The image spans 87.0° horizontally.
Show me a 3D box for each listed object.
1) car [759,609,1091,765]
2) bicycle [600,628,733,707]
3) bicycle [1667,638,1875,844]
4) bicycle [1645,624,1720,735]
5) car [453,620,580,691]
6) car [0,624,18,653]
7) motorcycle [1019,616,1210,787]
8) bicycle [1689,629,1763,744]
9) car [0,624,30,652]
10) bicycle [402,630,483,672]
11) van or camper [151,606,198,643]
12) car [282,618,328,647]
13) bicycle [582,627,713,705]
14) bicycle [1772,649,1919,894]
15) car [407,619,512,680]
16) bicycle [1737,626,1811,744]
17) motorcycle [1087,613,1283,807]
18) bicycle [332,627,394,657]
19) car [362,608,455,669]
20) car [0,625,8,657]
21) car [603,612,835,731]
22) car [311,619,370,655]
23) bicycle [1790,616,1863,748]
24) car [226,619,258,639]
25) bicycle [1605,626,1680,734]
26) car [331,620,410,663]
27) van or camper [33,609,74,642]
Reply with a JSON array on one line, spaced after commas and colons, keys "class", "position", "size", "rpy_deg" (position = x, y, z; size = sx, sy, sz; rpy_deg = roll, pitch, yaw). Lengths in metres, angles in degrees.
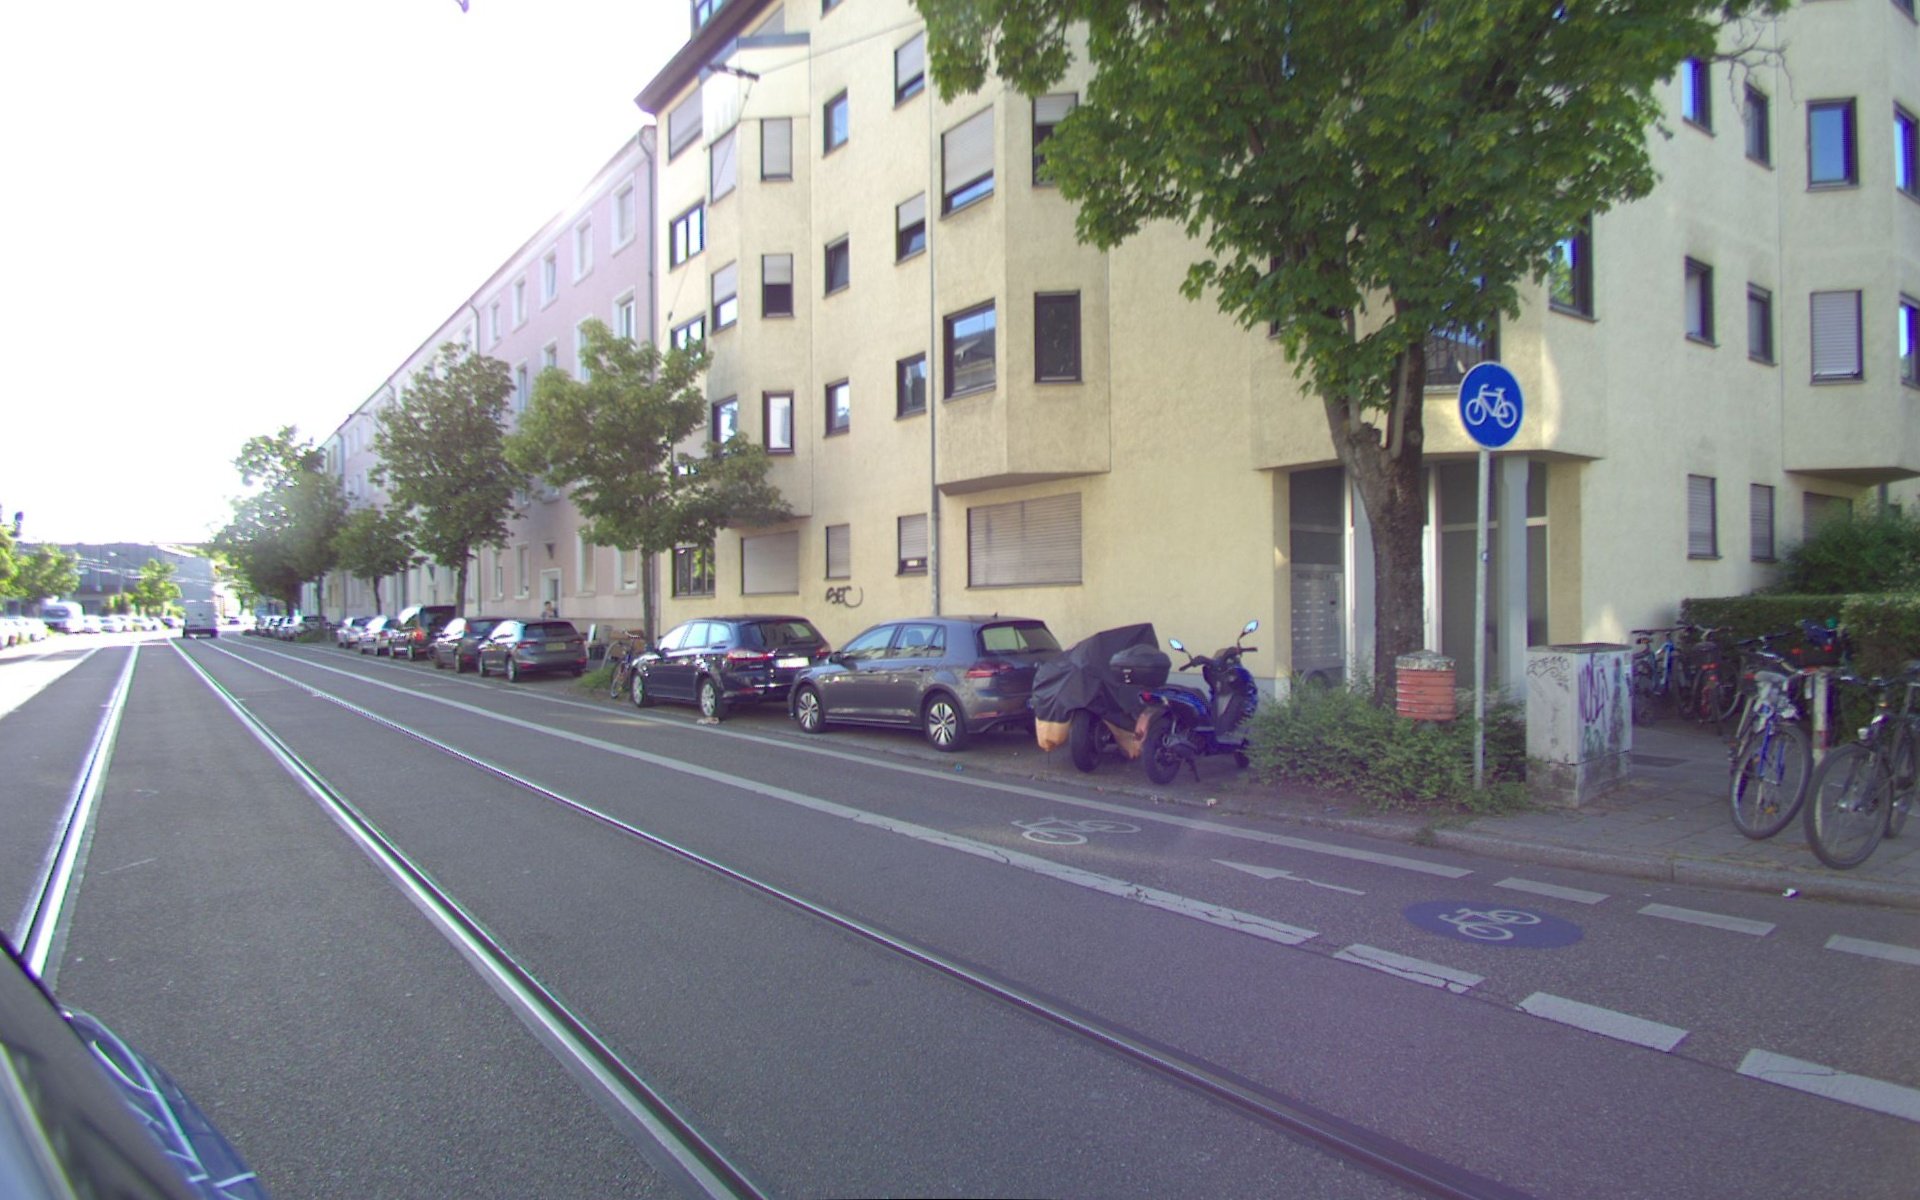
[{"class": "car", "position": [-0.572, 0.911, 12.270], "size": [1.715, 1.554, 4.133], "rpy_deg": [0, -1, -43]}, {"class": "bicycle", "position": [-5.388, 1.205, 18.666], "size": [2.263, 1.344, 0.701], "rpy_deg": [0, -1, -39]}, {"class": "bicycle", "position": [5.171, 0.814, 6.414], "size": [1.782, 1.093, 0.596], "rpy_deg": [0, -1, -37]}, {"class": "bicycle", "position": [7.692, 0.810, 10.751], "size": [1.372, 1.054, 0.332], "rpy_deg": [-2, 0, -42]}, {"class": "car", "position": [-10.917, 1.290, 24.782], "size": [1.743, 1.484, 4.048], "rpy_deg": [-3, 1, -40]}, {"class": "car", "position": [-53.174, 2.091, 55.604], "size": [1.801, 1.583, 4.486], "rpy_deg": [2, -2, -40]}, {"class": "motorcycle", "position": [1.523, 0.891, 9.719], "size": [0.836, 1.458, 1.946], "rpy_deg": [-1, -1, 44]}, {"class": "bicycle", "position": [7.926, 0.861, 10.454], "size": [1.372, 1.054, 0.332], "rpy_deg": [-2, 0, -42]}, {"class": "car", "position": [-56.275, 2.214, 59.716], "size": [1.801, 1.583, 4.486], "rpy_deg": [2, -2, -40]}, {"class": "bicycle", "position": [-16.190, 1.575, 31.692], "size": [2.085, 1.113, 0.747], "rpy_deg": [-4, 1, -41]}, {"class": "van or camper", "position": [-56.601, 1.734, 72.877], "size": [2.340, 2.572, 6.844], "rpy_deg": [0, -1, -41]}, {"class": "car", "position": [-39.056, 1.922, 60.332], "size": [1.663, 1.635, 4.053], "rpy_deg": [0, -1, -42]}, {"class": "bicycle", "position": [-5.898, 1.212, 19.186], "size": [2.263, 1.344, 0.701], "rpy_deg": [0, -1, -39]}, {"class": "bicycle", "position": [5.114, 0.847, 5.541], "size": [1.852, 1.093, 0.596], "rpy_deg": [0, -1, -37]}, {"class": "car", "position": [-14.129, 1.322, 28.453], "size": [1.743, 1.484, 4.189], "rpy_deg": [-3, 1, -39]}, {"class": "bicycle", "position": [8.167, 0.817, 10.141], "size": [1.372, 1.054, 0.332], "rpy_deg": [-2, 0, -42]}, {"class": "motorcycle", "position": [1.967, 0.853, 8.667], "size": [0.721, 1.458, 1.946], "rpy_deg": [-1, -1, 44]}, {"class": "bicycle", "position": [-25.049, 1.744, 42.476], "size": [2.118, 1.151, 0.660], "rpy_deg": [-2, 0, -43]}, {"class": "car", "position": [-18.846, 1.260, 34.495], "size": [1.744, 1.859, 4.429], "rpy_deg": [-3, 1, -41]}, {"class": "car", "position": [-49.874, 2.052, 51.462], "size": [1.801, 1.583, 4.486], "rpy_deg": [2, -2, -40]}, {"class": "car", "position": [-3.927, 0.991, 15.834], "size": [1.742, 1.554, 4.743], "rpy_deg": [0, -1, -38]}, {"class": "car", "position": [-27.994, 1.645, 45.655], "size": [1.742, 1.484, 4.762], "rpy_deg": [-1, -1, -38]}, {"class": "bicycle", "position": [8.445, 0.761, 9.847], "size": [1.372, 1.152, 0.332], "rpy_deg": [-2, 0, -42]}, {"class": "car", "position": [-57.659, 2.339, 81.281], "size": [1.663, 1.563, 3.955], "rpy_deg": [0, -1, -42]}, {"class": "bicycle", "position": [7.444, 0.835, 11.020], "size": [1.372, 1.054, 0.332], "rpy_deg": [-2, 0, -42]}, {"class": "car", "position": [-22.383, 1.544, 38.318], "size": [1.743, 1.484, 4.866], "rpy_deg": [-1, -1, -40]}, {"class": "van or camper", "position": [-75.111, 2.082, 83.931], "size": [2.058, 2.582, 5.706], "rpy_deg": [-1, 0, -37]}]
